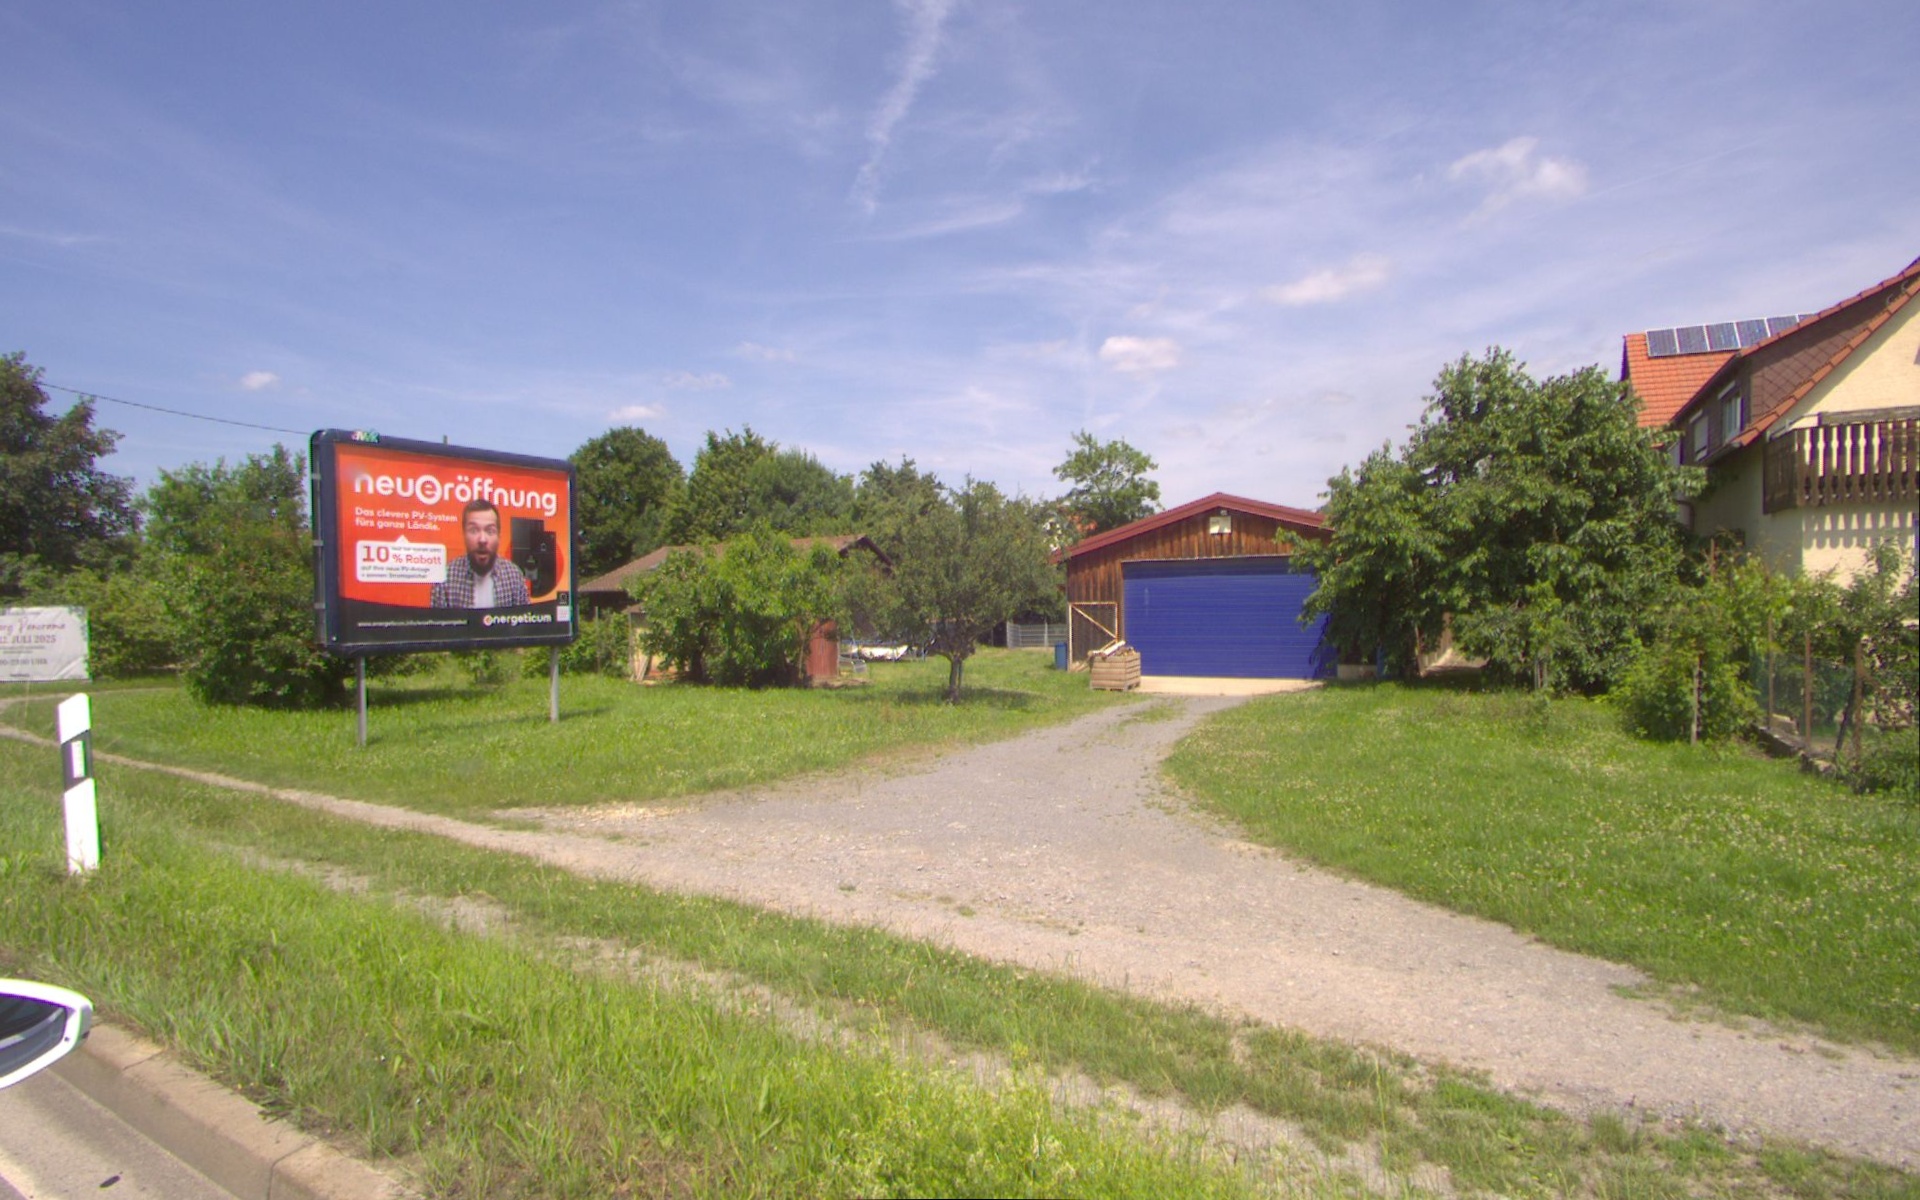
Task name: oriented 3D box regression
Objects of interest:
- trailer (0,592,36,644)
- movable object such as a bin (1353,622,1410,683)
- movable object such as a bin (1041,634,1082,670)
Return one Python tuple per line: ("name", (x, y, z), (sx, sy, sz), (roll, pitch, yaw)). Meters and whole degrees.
("trailer", (-93.196, 1.691, 95.430), (5.129, 4.688, 15.794), (1, -1, -34))
("movable object such as a bin", (10.236, 1.254, 24.299), (1.049, 1.415, 1.271), (0, -1, 33))
("movable object such as a bin", (3.078, 1.575, 30.364), (1.044, 1.046, 1.040), (0, -1, 17))
